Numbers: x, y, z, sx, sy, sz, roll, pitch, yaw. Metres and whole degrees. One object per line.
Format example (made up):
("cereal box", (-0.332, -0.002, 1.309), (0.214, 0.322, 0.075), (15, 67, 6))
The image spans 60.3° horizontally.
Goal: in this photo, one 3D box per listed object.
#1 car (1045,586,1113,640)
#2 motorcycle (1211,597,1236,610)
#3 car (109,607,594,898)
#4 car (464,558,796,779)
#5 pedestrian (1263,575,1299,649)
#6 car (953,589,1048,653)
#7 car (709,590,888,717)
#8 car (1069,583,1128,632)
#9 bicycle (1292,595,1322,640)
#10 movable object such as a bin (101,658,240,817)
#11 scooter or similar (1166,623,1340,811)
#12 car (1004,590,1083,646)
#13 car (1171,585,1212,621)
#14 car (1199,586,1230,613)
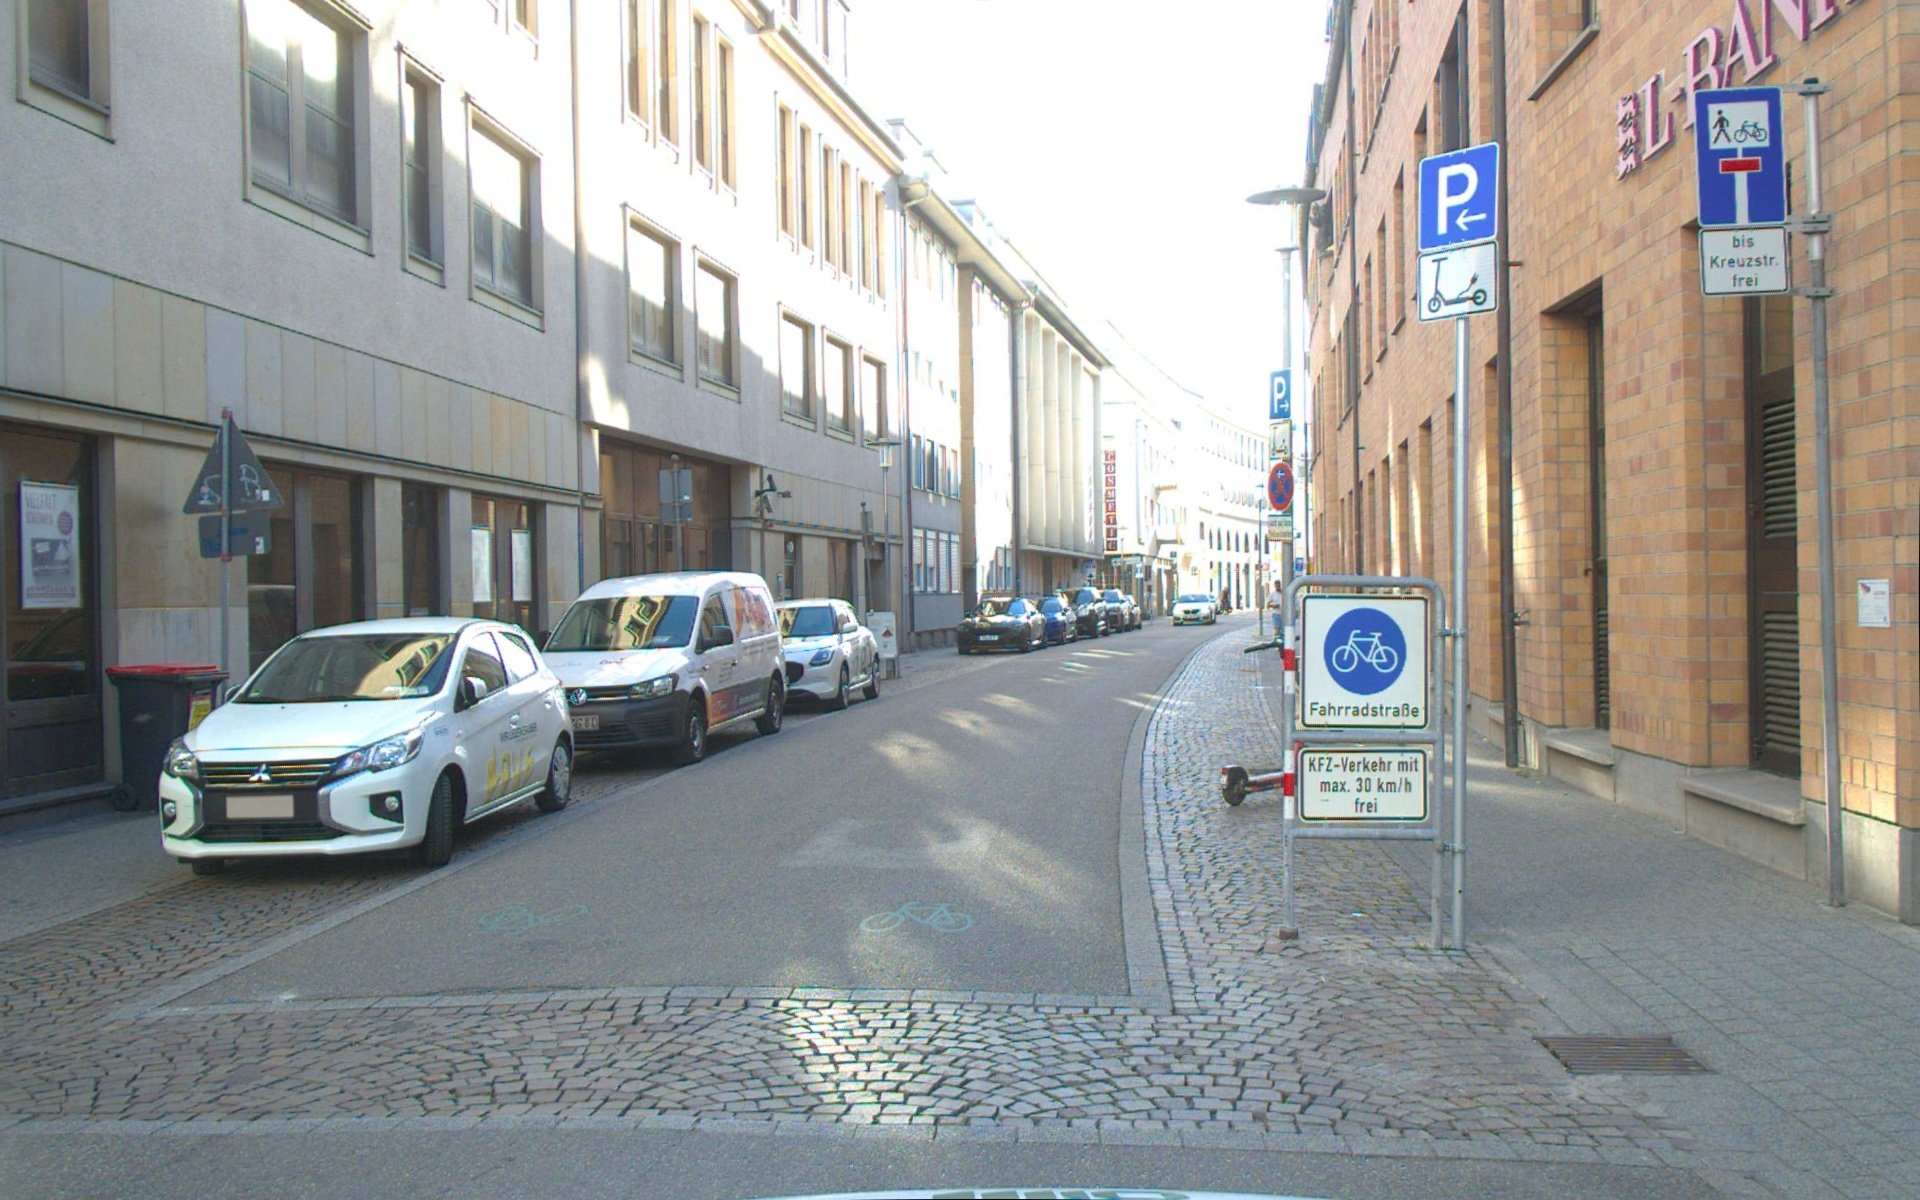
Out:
("car", (4.061, 0.402, 55.839), (1.849, 1.705, 4.557), (-2, 0, 10))
("motorcycle", (18.260, 0.253, 114.601), (1.655, 0.874, 0.595), (1, 0, 18))
("car", (-3.833, 0.863, 11.167), (1.701, 1.518, 3.800), (-3, 0, 2))
("car", (-3.182, 0.592, 17.078), (1.859, 1.890, 4.737), (-3, 0, 7))
("pedestrian", (7.800, 0.293, 40.237), (0.744, 1.746, 0.822), (-3, 0, 9))
("car", (1.138, 0.508, 43.857), (1.849, 1.556, 4.733), (-2, 0, 10))
("car", (-2.174, 0.689, 23.306), (1.634, 1.548, 3.779), (-3, 0, 7))
("car", (5.334, 0.264, 63.229), (1.849, 1.772, 4.394), (-2, 0, 10))
("bicycle", (9.320, 0.463, 44.450), (0.538, 1.122, 1.984), (-4, 0, 7))
("movable object such as a bin", (-5.879, 1.011, 12.342), (0.721, 1.120, 0.591), (1, 0, 4))
("scooter or similar", (2.165, 0.819, 12.121), (1.407, 1.257, 0.530), (-1, 1, -43))
("car", (2.573, 0.511, 50.088), (1.849, 1.556, 4.344), (-2, 0, 10))
("car", (10.375, 0.110, 73.956), (1.678, 1.544, 4.164), (-2, 0, 10))
("car", (15.090, -0.058, 98.069), (1.604, 1.544, 4.164), (-2, 0, 11))
